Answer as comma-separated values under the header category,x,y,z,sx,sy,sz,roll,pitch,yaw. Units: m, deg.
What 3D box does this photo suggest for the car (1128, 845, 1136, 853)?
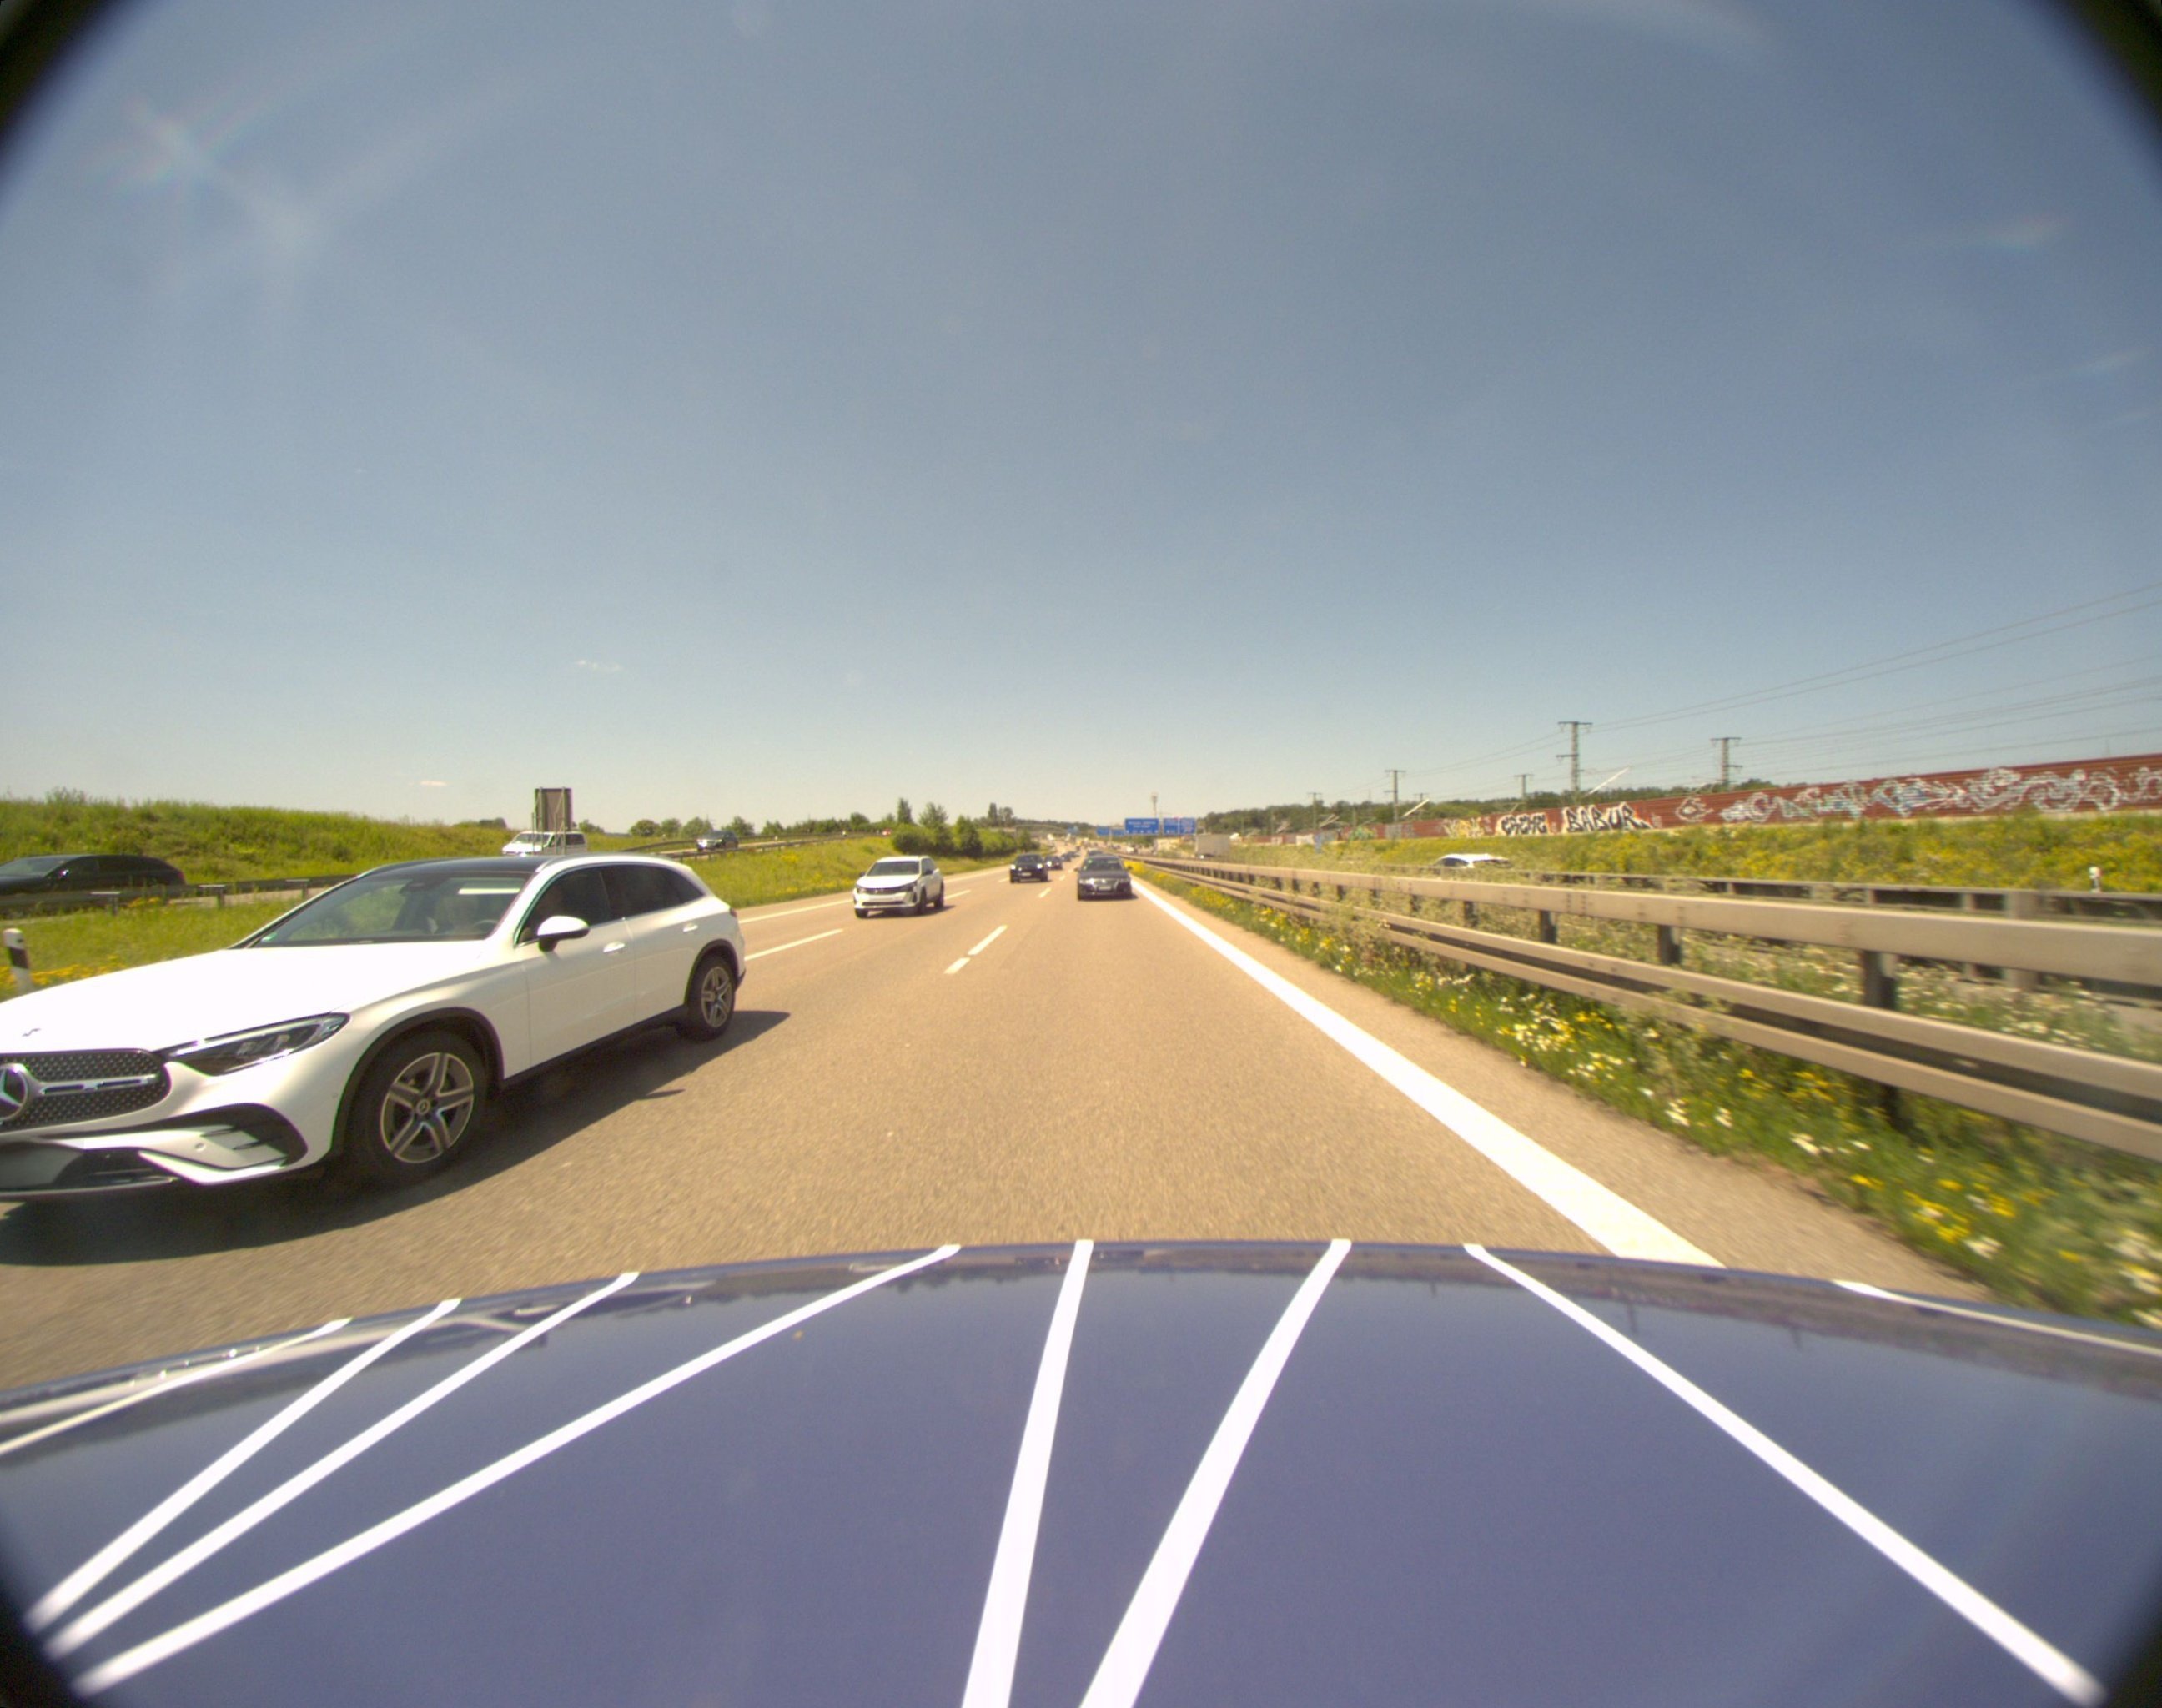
category,x,y,z,sx,sy,sz,roll,pitch,yaw
car,12.709,-1.302,189.368,1.820,1.775,4.538,-1,1,1

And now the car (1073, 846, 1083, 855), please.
category,x,y,z,sx,sy,sz,roll,pitch,yaw
car,-0.724,-0.799,181.743,1.998,2.002,3.999,-3,2,1

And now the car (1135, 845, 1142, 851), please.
category,x,y,z,sx,sy,sz,roll,pitch,yaw
car,17.079,-1.715,224.927,1.723,1.625,4.191,-3,2,1

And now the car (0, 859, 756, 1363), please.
category,x,y,z,sx,sy,sz,roll,pitch,yaw
car,-4.135,0.938,4.951,1.909,1.646,4.636,-2,1,1

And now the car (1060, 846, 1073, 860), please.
category,x,y,z,sx,sy,sz,roll,pitch,yaw
car,-2.265,-0.198,121.847,1.999,2.002,3.999,-2,2,0

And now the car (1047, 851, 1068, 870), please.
category,x,y,z,sx,sy,sz,roll,pitch,yaw
car,-2.173,0.559,69.661,1.752,1.462,3.998,-2,2,-2

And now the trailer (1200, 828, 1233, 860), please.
category,x,y,z,sx,sy,sz,roll,pitch,yaw
trailer,18.703,-1.369,105.572,2.736,4.050,13.530,0,1,3

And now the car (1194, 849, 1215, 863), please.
category,x,y,z,sx,sy,sz,roll,pitch,yaw
car,13.851,0.229,85.207,1.820,1.470,3.842,-1,1,1

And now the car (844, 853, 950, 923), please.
category,x,y,z,sx,sy,sz,roll,pitch,yaw
car,-5.166,0.882,22.017,1.898,1.620,4.615,-2,1,0

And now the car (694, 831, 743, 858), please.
category,x,y,z,sx,sy,sz,roll,pitch,yaw
car,-28.996,-0.760,60.937,1.999,2.002,3.998,-3,2,-3

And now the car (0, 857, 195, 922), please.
category,x,y,z,sx,sy,sz,roll,pitch,yaw
car,-24.970,0.819,18.469,1.999,1.375,4.294,-2,1,-6

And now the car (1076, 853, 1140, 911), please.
category,x,y,z,sx,sy,sz,roll,pitch,yaw
car,0.757,0.799,23.463,1.752,1.462,3.998,-2,2,0

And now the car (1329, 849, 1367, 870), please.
category,x,y,z,sx,sy,sz,roll,pitch,yaw
car,21.153,0.398,60.268,1.724,1.535,3.809,-1,1,1

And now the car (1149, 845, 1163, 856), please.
category,x,y,z,sx,sy,sz,roll,pitch,yaw
car,11.021,-0.490,111.672,1.649,1.470,3.814,-1,1,1

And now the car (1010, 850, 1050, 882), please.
category,x,y,z,sx,sy,sz,roll,pitch,yaw
car,-2.855,0.634,43.570,1.983,1.620,4.615,-2,1,-1

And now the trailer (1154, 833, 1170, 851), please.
category,x,y,z,sx,sy,sz,roll,pitch,yaw
trailer,19.572,-2.852,183.616,2.895,4.382,12.090,0,1,1

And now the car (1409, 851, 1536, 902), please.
category,x,y,z,sx,sy,sz,roll,pitch,yaw
car,13.076,0.682,25.779,1.917,1.535,4.809,-2,0,1

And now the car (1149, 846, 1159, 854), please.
category,x,y,z,sx,sy,sz,roll,pitch,yaw
car,15.762,-0.862,164.921,1.820,1.638,4.362,-1,1,1

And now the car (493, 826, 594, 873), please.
category,x,y,z,sx,sy,sz,roll,pitch,yaw
car,-27.185,-0.227,38.651,2.000,2.159,4.890,-2,0,-7
